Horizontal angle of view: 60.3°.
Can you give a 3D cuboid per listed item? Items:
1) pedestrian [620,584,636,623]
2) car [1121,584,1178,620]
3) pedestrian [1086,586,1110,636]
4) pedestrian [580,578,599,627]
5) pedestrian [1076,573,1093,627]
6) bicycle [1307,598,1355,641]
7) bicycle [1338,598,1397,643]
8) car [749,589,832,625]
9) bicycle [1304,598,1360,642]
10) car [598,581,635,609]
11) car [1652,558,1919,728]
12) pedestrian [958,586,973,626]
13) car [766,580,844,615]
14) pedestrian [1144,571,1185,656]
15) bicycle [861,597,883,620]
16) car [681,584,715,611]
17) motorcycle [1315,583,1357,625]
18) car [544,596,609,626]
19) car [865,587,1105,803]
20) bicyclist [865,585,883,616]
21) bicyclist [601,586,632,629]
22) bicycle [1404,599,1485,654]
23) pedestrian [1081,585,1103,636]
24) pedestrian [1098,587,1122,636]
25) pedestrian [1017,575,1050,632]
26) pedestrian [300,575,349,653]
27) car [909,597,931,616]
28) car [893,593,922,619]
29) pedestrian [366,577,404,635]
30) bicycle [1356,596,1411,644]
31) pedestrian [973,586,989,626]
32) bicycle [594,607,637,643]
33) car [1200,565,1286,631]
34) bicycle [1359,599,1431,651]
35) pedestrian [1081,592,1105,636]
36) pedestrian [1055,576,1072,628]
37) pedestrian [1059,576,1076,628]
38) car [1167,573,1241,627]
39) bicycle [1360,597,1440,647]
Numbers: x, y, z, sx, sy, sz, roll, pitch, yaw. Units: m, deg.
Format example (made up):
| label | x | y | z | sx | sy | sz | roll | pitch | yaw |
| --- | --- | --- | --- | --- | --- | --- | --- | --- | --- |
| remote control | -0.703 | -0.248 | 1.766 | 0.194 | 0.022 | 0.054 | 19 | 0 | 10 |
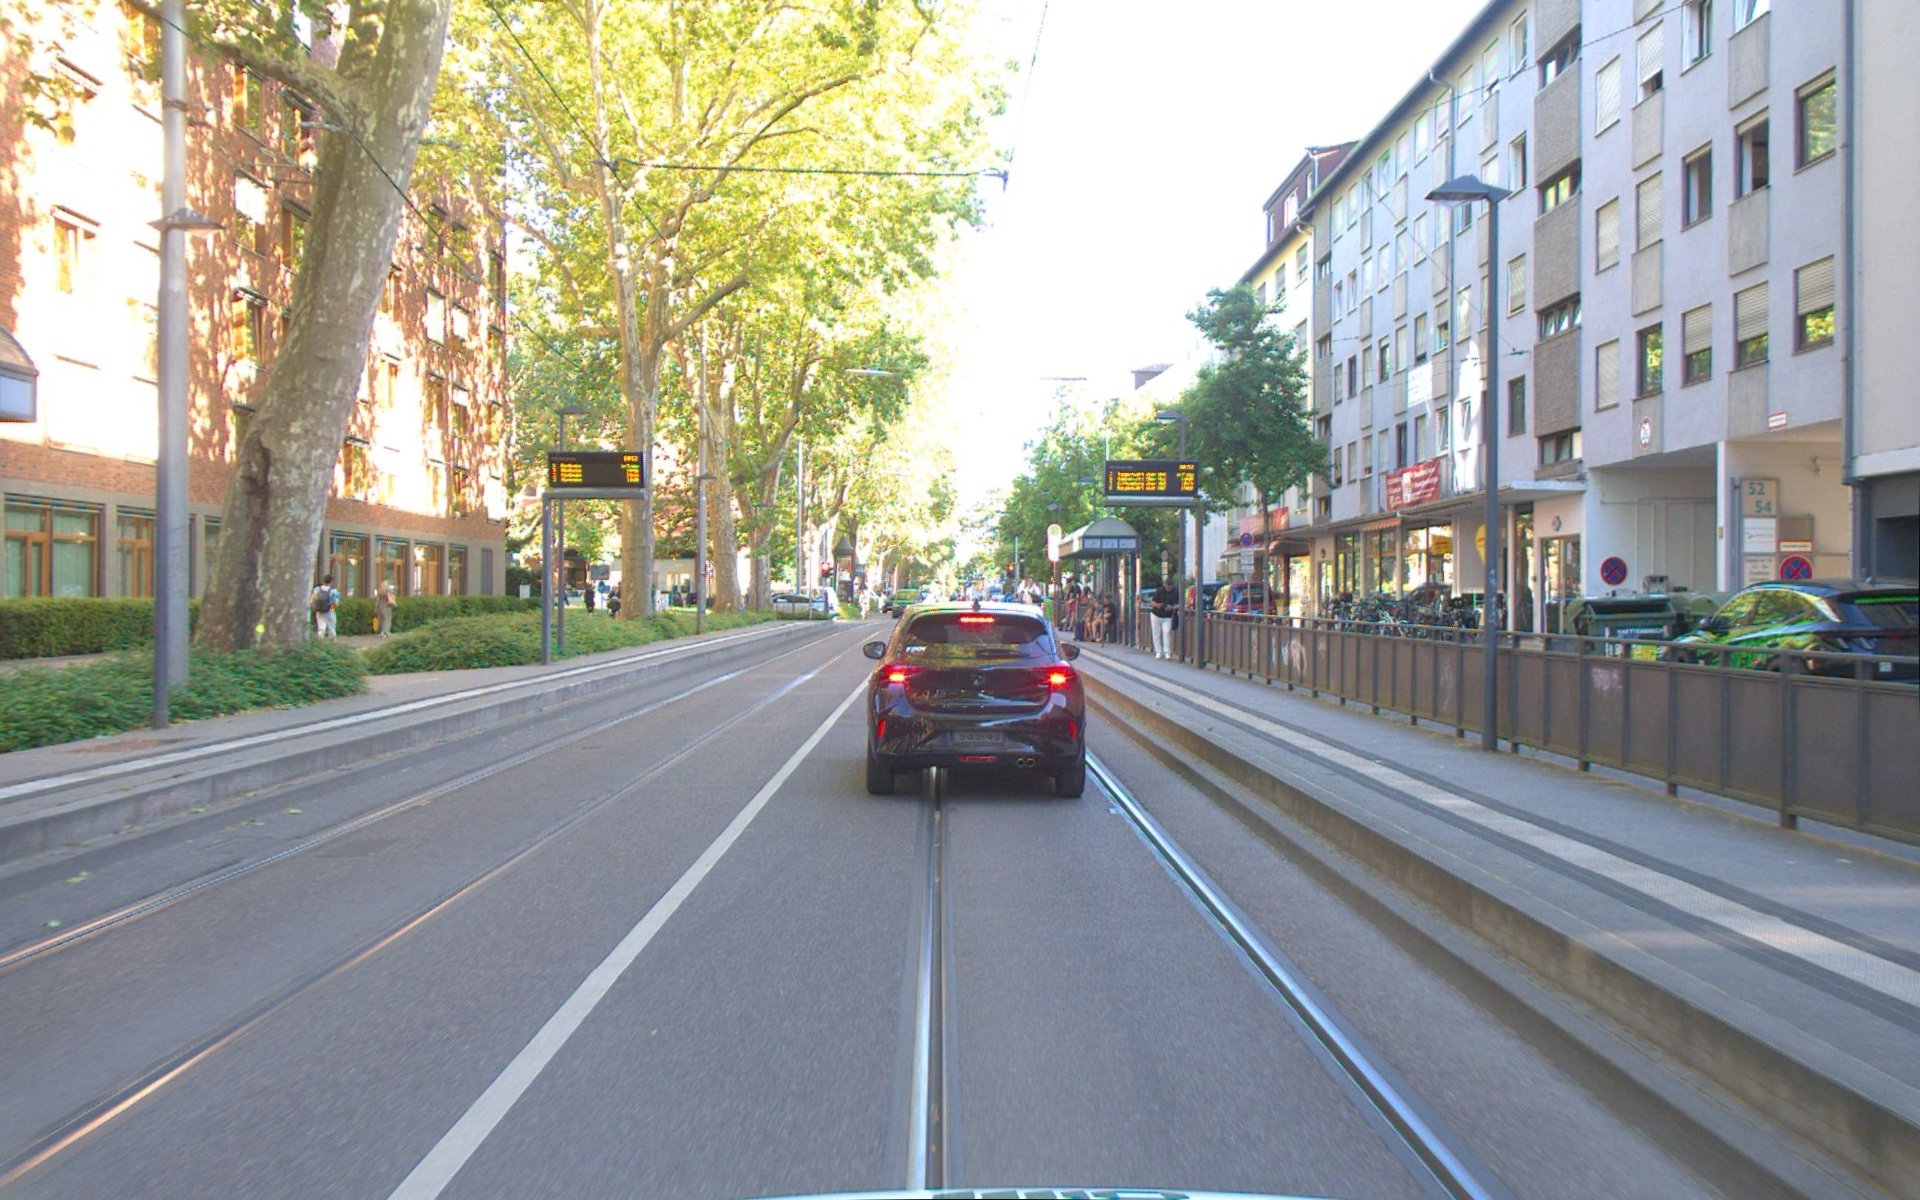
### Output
| label | x | y | z | sx | sy | sz | roll | pitch | yaw |
| --- | --- | --- | --- | --- | --- | --- | --- | --- | --- |
| pedestrian | -16.818 | 0.177 | 83.724 | 0.659 | 1.984 | 0.497 | 2 | 0 | -4 |
| car | 8.161 | 0.094 | 71.392 | 1.953 | 1.512 | 3.999 | 1 | 0 | -1 |
| pedestrian | 3.689 | 0.300 | 44.238 | 0.523 | 1.327 | 0.550 | 1 | -1 | -5 |
| pedestrian | -15.004 | 0.104 | 66.984 | 0.486 | 1.984 | 0.675 | 1 | -1 | 11 |
| pedestrian | 4.205 | -0.007 | 55.865 | 0.520 | 1.793 | 0.661 | 1 | -1 | 1 |
| bicycle | 10.237 | 0.530 | 45.716 | 0.586 | 1.156 | 2.201 | 1 | 0 | -6 |
| bicycle | 10.671 | 0.527 | 43.374 | 0.587 | 1.156 | 2.197 | 1 | 0 | -12 |
| car | -8.466 | 0.356 | 82.478 | 4.037 | 1.730 | 1.880 | 1 | 0 | -8 |
| bicycle | 9.964 | 0.519 | 44.373 | 0.587 | 1.156 | 2.197 | 1 | 0 | -12 |
| car | -26.021 | -0.355 | 125.275 | 1.953 | 2.049 | 3.999 | 1 | 0 | -1 |
| car | 9.526 | 0.438 | 18.344 | 1.819 | 1.644 | 4.397 | 1 | 0 | -1 |
| pedestrian | 0.295 | 0.304 | 86.135 | 0.661 | 2.049 | 0.701 | 2 | 0 | 5 |
| car | -8.772 | -0.159 | 93.560 | 4.302 | 1.884 | 1.996 | 1 | 0 | -8 |
| pedestrian | 3.969 | 0.262 | 32.084 | 0.618 | 1.603 | 0.870 | 2 | 0 | -1 |
| bicycle | -5.017 | 0.482 | 94.356 | 0.935 | 1.262 | 2.978 | 1 | 0 | 2 |
| car | -19.985 | -0.188 | 126.091 | 1.953 | 2.049 | 3.999 | 1 | 0 | -1 |
| motorcycle | 12.135 | 0.127 | 53.398 | 0.874 | 1.302 | 2.042 | 1 | 0 | -1 |
| car | -27.262 | 0.768 | 117.631 | 4.163 | 2.049 | 2.000 | 1 | 0 | -1 |
| car | 0.095 | 0.682 | 13.718 | 1.724 | 1.534 | 3.681 | 0 | 0 | -3 |
| bicyclist | -4.968 | 0.016 | 95.253 | 0.921 | 1.732 | 1.153 | 1 | 0 | 2 |
| bicyclist | -12.350 | 0.256 | 59.507 | 0.935 | 1.518 | 0.837 | 1 | -1 | -1 |
| bicycle | 10.481 | 0.555 | 35.865 | 0.610 | 1.156 | 2.432 | 1 | 0 | -12 |
| pedestrian | 3.485 | 0.271 | 43.659 | 0.493 | 1.327 | 0.428 | 1 | -1 | -5 |
| pedestrian | 3.860 | 0.296 | 42.587 | 0.523 | 1.252 | 0.510 | 1 | -1 | -5 |
| pedestrian | 2.272 | 0.104 | 51.075 | 0.736 | 1.739 | 0.761 | 1 | -1 | 34 |
| pedestrian | -14.226 | 0.310 | 37.037 | 0.720 | 1.701 | 0.860 | 1 | -1 | -1 |
| car | -3.697 | 0.566 | 152.854 | 1.953 | 1.723 | 3.998 | 1 | 0 | -2 |
| car | -3.270 | 0.377 | 102.850 | 1.710 | 1.571 | 3.998 | 1 | 0 | -2 |
| pedestrian | -16.567 | 0.181 | 47.658 | 0.759 | 1.633 | 0.946 | 1 | 0 | -1 |
| bicycle | 10.623 | 0.490 | 41.524 | 0.403 | 1.156 | 2.197 | 1 | 0 | -12 |
| pedestrian | 1.107 | 0.321 | 85.856 | 0.661 | 2.049 | 0.702 | 2 | 0 | 11 |
| bicycle | -12.357 | 0.887 | 59.461 | 0.935 | 1.262 | 2.977 | 1 | 0 | -1 |
| car | 8.959 | -0.055 | 52.618 | 1.953 | 1.986 | 3.999 | 1 | 0 | -2 |
| bicycle | 10.044 | 0.566 | 38.295 | 0.592 | 1.156 | 2.427 | 1 | 0 | -12 |
| pedestrian | 3.465 | 0.368 | 43.125 | 0.523 | 1.119 | 0.550 | 1 | -1 | -5 |
| pedestrian | 3.462 | 0.068 | 55.147 | 0.520 | 1.739 | 0.752 | 1 | -1 | 2 |
| pedestrian | 3.667 | 0.069 | 56.581 | 0.520 | 1.739 | 0.596 | 1 | -1 | 1 |
| car | 8.678 | 0.002 | 59.105 | 1.953 | 1.829 | 3.999 | 1 | 0 | -2 |
| bicycle | 10.477 | 0.512 | 39.501 | 0.600 | 1.156 | 2.913 | 1 | 0 | -12 |
